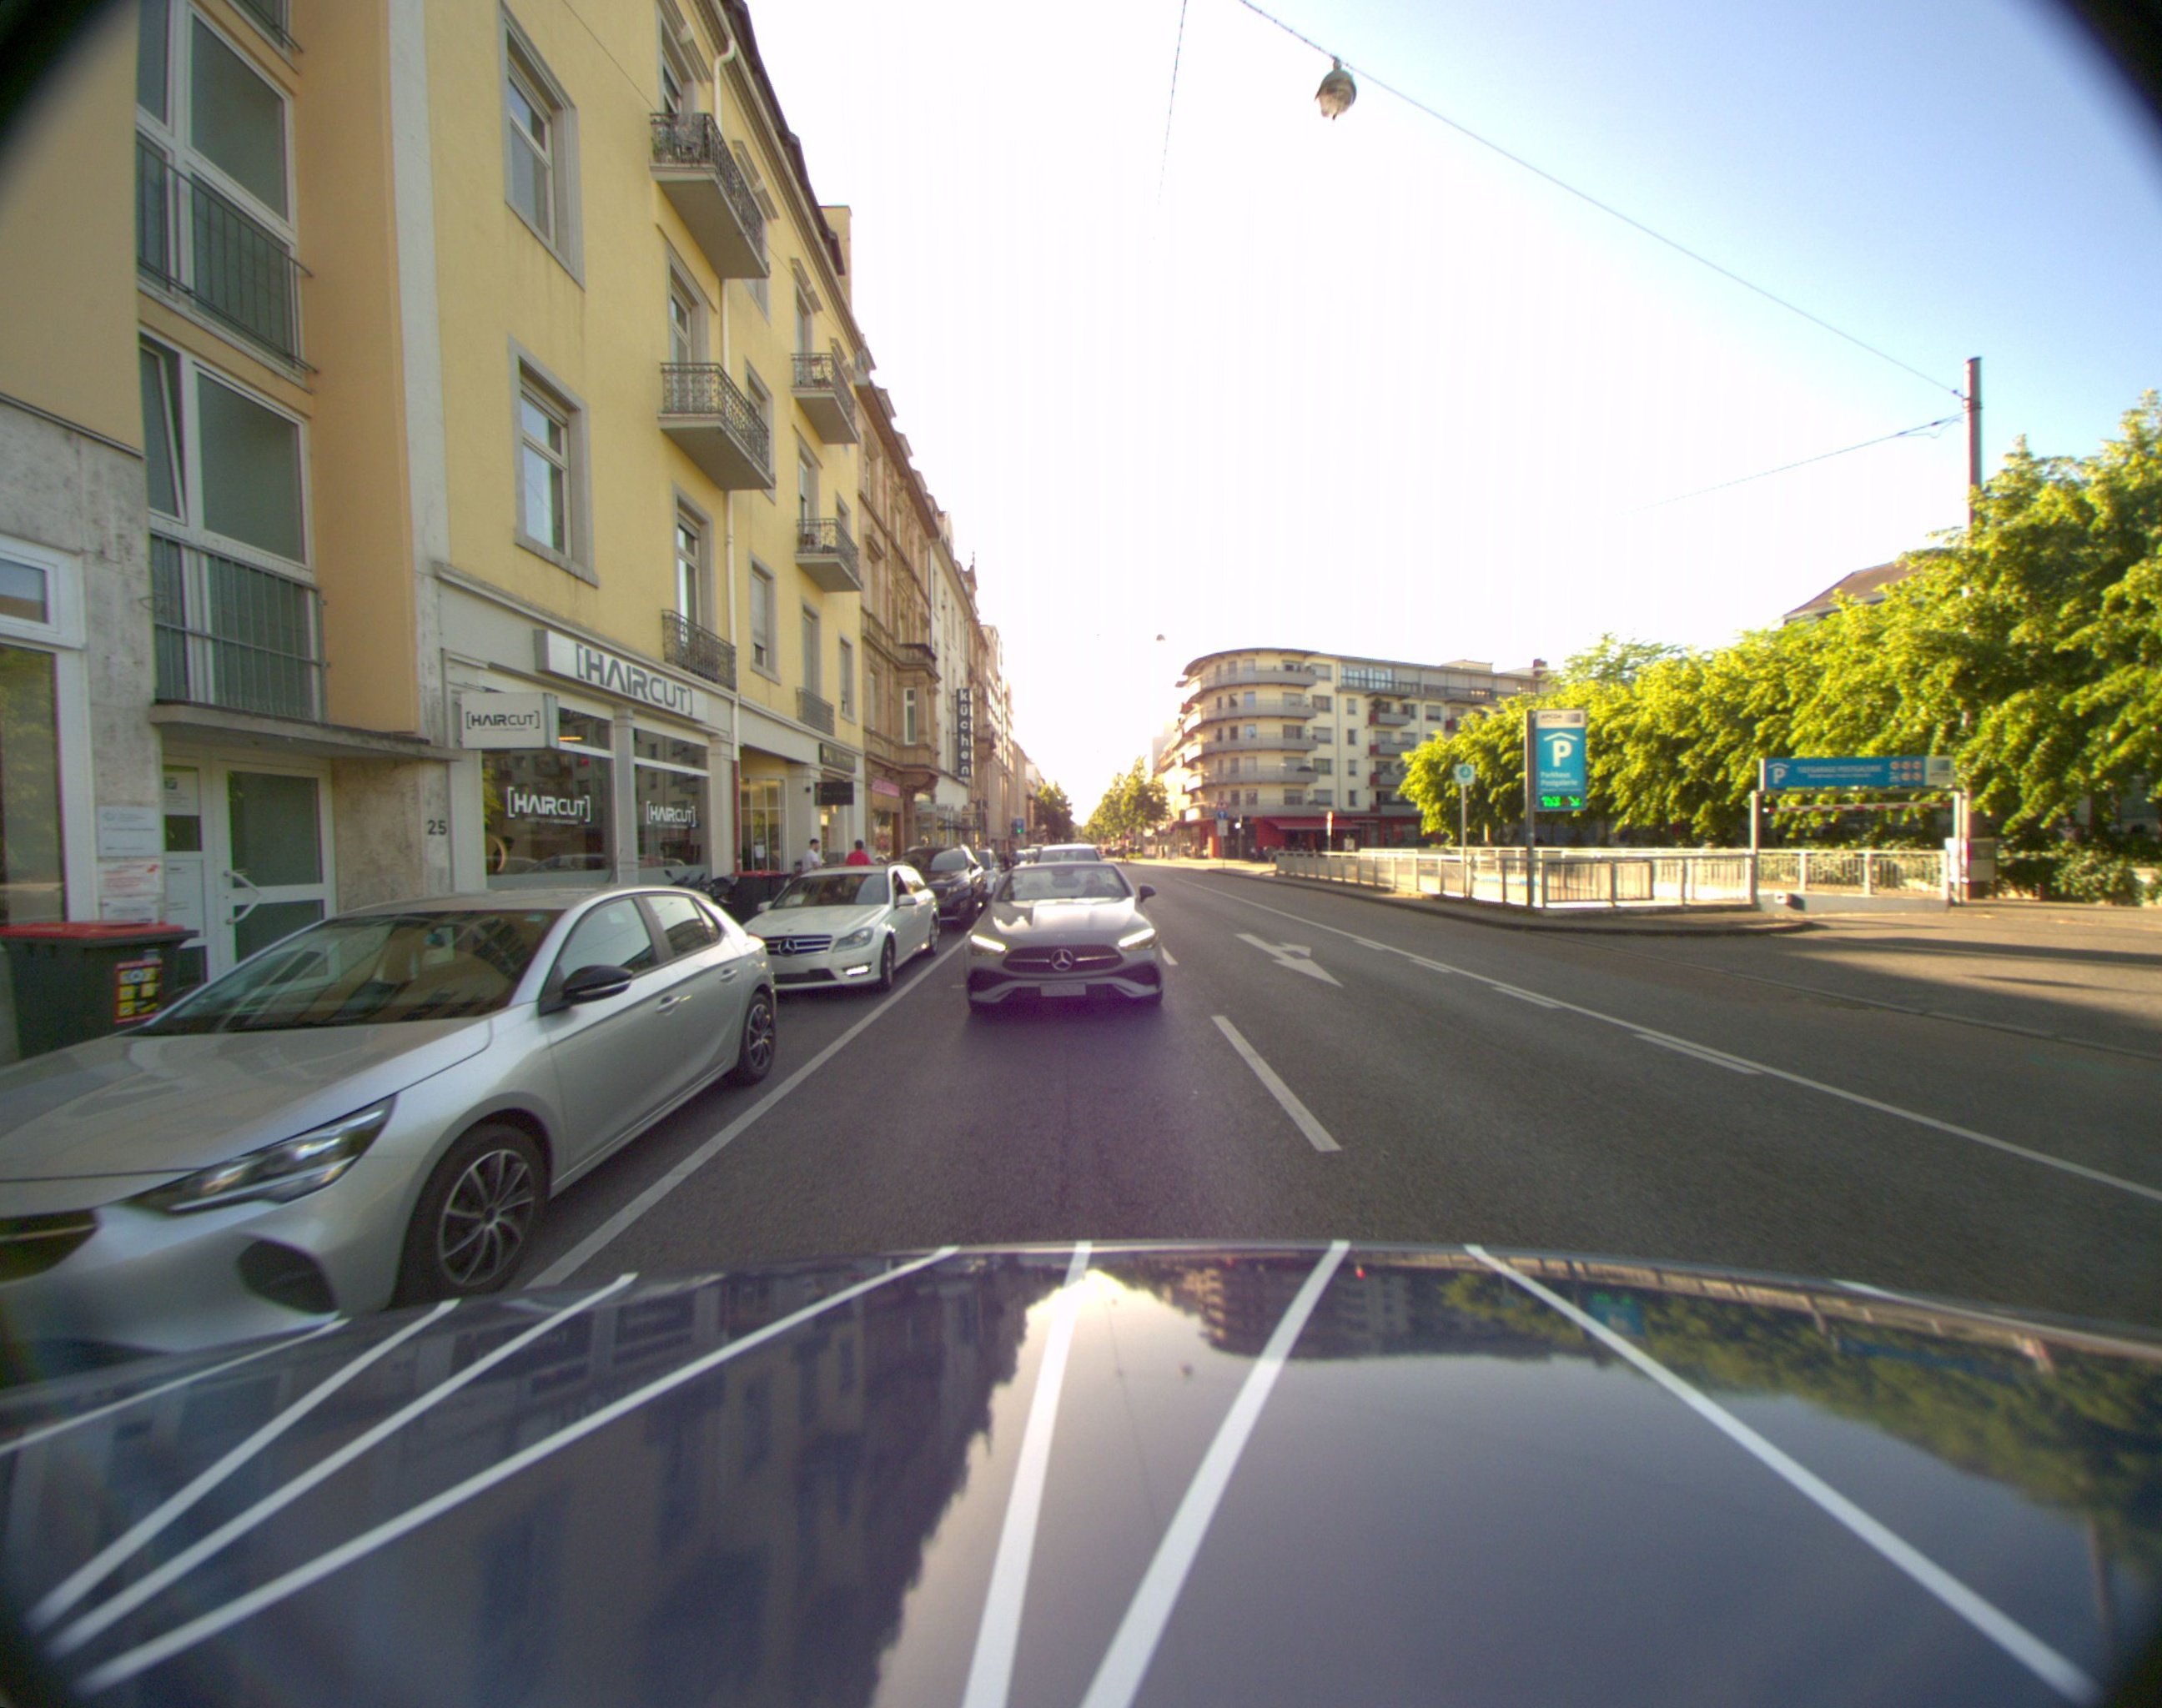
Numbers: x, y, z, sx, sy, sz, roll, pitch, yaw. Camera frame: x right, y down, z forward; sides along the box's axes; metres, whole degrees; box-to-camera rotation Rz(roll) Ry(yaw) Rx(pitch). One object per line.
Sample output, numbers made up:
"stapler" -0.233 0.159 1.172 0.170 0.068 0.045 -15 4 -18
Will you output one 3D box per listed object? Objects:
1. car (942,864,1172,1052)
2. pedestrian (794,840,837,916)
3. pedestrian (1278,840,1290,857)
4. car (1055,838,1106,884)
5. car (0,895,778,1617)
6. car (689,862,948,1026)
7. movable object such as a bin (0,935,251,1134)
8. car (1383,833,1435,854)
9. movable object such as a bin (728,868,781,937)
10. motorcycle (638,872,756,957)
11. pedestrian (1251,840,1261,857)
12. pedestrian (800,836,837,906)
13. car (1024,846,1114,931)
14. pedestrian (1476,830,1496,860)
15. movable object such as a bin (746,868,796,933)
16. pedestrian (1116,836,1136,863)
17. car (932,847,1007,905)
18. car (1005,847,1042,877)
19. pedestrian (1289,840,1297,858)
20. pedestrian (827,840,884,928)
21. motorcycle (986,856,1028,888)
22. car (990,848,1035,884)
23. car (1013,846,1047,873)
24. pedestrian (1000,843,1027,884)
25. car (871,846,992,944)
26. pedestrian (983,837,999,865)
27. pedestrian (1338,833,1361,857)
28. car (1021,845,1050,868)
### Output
"car" -0.218 0.890 8.431 1.849 1.371 4.255 -2 1 -1
"pedestrian" -5.851 0.515 16.771 0.642 1.608 0.700 -2 1 -1
"pedestrian" 17.610 -0.453 65.819 0.583 1.453 0.790 -3 2 -37
"car" -0.008 0.255 31.881 1.952 1.742 3.999 -2 1 1
"car" -2.965 1.042 3.558 1.654 1.390 3.704 -2 1 -2
"car" -3.013 0.924 9.873 1.759 1.454 4.597 -2 1 -1
"movable object such as a bin" -6.240 1.107 4.892 0.752 1.047 0.893 -2 1 1
"car" 28.946 -0.909 67.136 4.004 1.740 1.996 -2 1 -23
"movable object such as a bin" -6.062 0.888 14.117 0.647 1.200 0.644 -2 1 1
"motorcycle" -6.209 0.929 12.456 0.773 1.158 2.247 1 1 1
"pedestrian" 14.973 -0.462 64.929 0.791 1.452 0.583 -2 2 10
"pedestrian" -6.148 0.391 17.835 0.572 1.608 0.642 -2 1 1
"car" -0.211 0.651 16.817 1.716 1.599 3.999 -2 1 1
"pedestrian" 24.579 -0.533 46.103 0.755 1.795 0.756 -2 1 -16
"movable object such as a bin" -6.013 0.896 14.769 0.647 1.200 0.644 -2 1 1
"pedestrian" 3.461 -0.371 58.331 1.201 2.002 1.019 -2 1 -20
"car" -3.271 0.611 22.783 1.696 1.559 3.017 -2 1 1
"car" -3.068 0.384 41.110 1.715 1.477 3.999 -2 1 0
"pedestrian" 17.866 -0.415 64.128 0.581 1.481 0.793 -2 2 13
"pedestrian" -4.760 0.608 16.088 0.866 1.774 1.008 2 2 0
"motorcycle" -3.049 0.721 31.421 0.769 1.225 1.546 -1 2 42
"car" -3.129 0.526 35.358 1.715 1.477 3.999 -2 1 0
"car" -3.010 0.285 45.627 1.715 1.477 3.999 -2 1 0
"pedestrian" -2.761 0.393 31.156 0.832 1.657 0.694 -1 2 24
"car" -2.973 0.714 16.102 1.858 1.688 4.696 -2 1 -4
"pedestrian" -5.302 -0.162 44.848 0.795 1.608 0.763 -2 1 -2
"pedestrian" 22.642 -0.752 64.099 1.234 2.002 1.259 -3 1 -22
"car" -3.069 0.144 52.220 1.715 1.477 4.062 -2 1 0
